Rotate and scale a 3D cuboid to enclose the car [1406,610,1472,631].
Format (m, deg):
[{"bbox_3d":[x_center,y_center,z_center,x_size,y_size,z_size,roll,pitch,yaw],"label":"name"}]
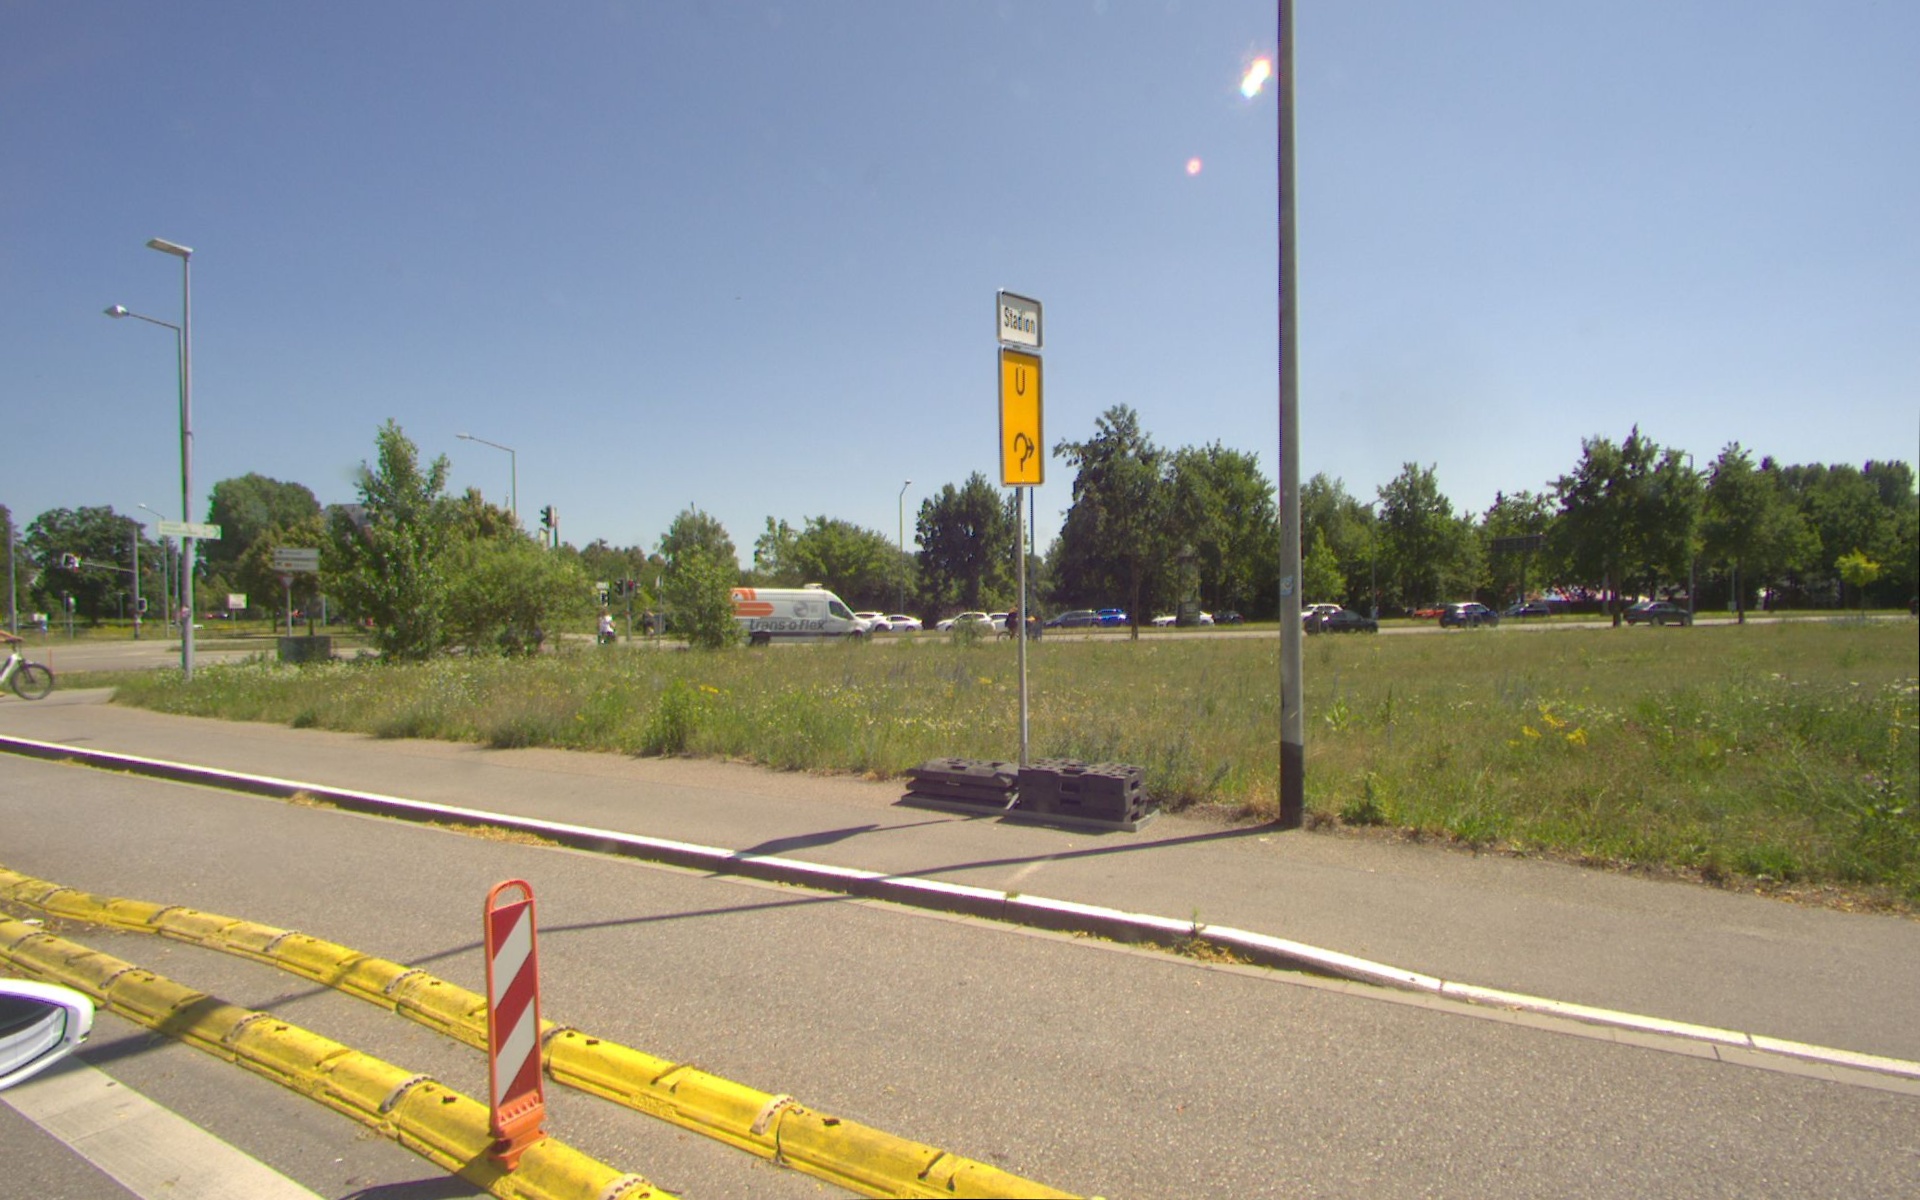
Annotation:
[{"bbox_3d":[36.127,1.560,75.541,4.337,1.612,1.846,0,-2,-16],"label":"car"}]

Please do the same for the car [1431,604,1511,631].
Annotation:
[{"bbox_3d":[31.964,1.053,62.644,4.344,1.617,1.994,0,1,-20],"label":"car"}]

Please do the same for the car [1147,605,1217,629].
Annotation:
[{"bbox_3d":[15.288,1.168,69.106,4.365,1.612,1.846,0,-2,-16],"label":"car"}]

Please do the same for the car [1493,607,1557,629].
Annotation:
[{"bbox_3d":[43.725,1.393,77.506,4.365,1.612,1.846,0,-2,-16],"label":"car"}]

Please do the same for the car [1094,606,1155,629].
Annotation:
[{"bbox_3d":[11.671,1.245,71.227,3.927,1.558,1.764,0,-2,-14],"label":"car"}]

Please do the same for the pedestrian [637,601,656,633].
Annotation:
[{"bbox_3d":[-16.710,0.909,53.426,0.954,1.681,0.885,0,-1,-16],"label":"pedestrian"}]

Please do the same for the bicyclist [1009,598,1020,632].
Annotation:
[{"bbox_3d":[2.118,0.598,39.199,0.349,1.336,0.379,0,-1,-9],"label":"bicyclist"}]

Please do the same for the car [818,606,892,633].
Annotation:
[{"bbox_3d":[-6.583,1.250,62.837,4.365,1.612,1.846,0,-2,-16],"label":"car"}]

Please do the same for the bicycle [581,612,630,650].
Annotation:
[{"bbox_3d":[-13.158,1.169,37.237,0.628,1.370,2.896,0,-2,4],"label":"bicycle"}]

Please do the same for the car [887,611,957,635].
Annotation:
[{"bbox_3d":[-2.564,1.549,66.901,4.365,1.612,1.846,0,-2,-16],"label":"car"}]

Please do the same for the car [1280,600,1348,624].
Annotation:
[{"bbox_3d":[25.287,0.868,71.604,4.366,1.612,1.846,0,-2,-17],"label":"car"}]

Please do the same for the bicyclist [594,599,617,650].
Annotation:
[{"bbox_3d":[-13.155,0.910,37.166,0.597,1.864,0.572,0,-1,2],"label":"bicyclist"}]

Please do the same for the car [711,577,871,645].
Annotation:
[{"bbox_3d":[-7.464,0.540,44.450,6.772,2.864,1.994,1,-2,-23],"label":"car"}]

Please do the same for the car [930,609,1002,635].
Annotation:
[{"bbox_3d":[0.375,1.435,64.873,4.365,1.612,1.846,0,-2,-16],"label":"car"}]

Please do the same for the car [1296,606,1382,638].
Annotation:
[{"bbox_3d":[20.079,1.165,53.085,3.928,1.573,1.724,1,1,-15],"label":"car"}]

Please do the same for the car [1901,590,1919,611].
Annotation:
[{"bbox_3d":[73.435,0.051,75.419,4.344,1.617,1.994,0,1,-20],"label":"car"}]

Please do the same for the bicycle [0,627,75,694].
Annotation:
[{"bbox_3d":[-18.414,1.159,19.194,0.625,1.237,2.086,0,0,34],"label":"bicycle"}]

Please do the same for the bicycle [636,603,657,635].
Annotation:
[{"bbox_3d":[-16.754,1.044,53.564,0.967,1.617,2.879,0,-2,-16],"label":"bicycle"}]

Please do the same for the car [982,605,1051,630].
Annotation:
[{"bbox_3d":[3.883,1.193,69.185,4.365,1.613,1.845,0,0,-16],"label":"car"}]

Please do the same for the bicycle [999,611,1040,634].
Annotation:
[{"bbox_3d":[2.333,0.885,39.235,1.564,0.895,0.369,0,-1,-10],"label":"bicycle"}]

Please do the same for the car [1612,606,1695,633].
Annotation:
[{"bbox_3d":[43.364,1.232,62.634,4.340,1.617,1.996,0,1,-16],"label":"car"}]

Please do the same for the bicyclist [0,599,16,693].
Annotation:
[{"bbox_3d":[-18.523,0.873,19.062,0.584,1.776,0.667,1,2,36],"label":"bicyclist"}]

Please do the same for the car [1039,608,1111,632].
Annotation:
[{"bbox_3d":[7.658,1.350,66.767,4.365,1.612,1.846,0,-2,-16],"label":"car"}]
